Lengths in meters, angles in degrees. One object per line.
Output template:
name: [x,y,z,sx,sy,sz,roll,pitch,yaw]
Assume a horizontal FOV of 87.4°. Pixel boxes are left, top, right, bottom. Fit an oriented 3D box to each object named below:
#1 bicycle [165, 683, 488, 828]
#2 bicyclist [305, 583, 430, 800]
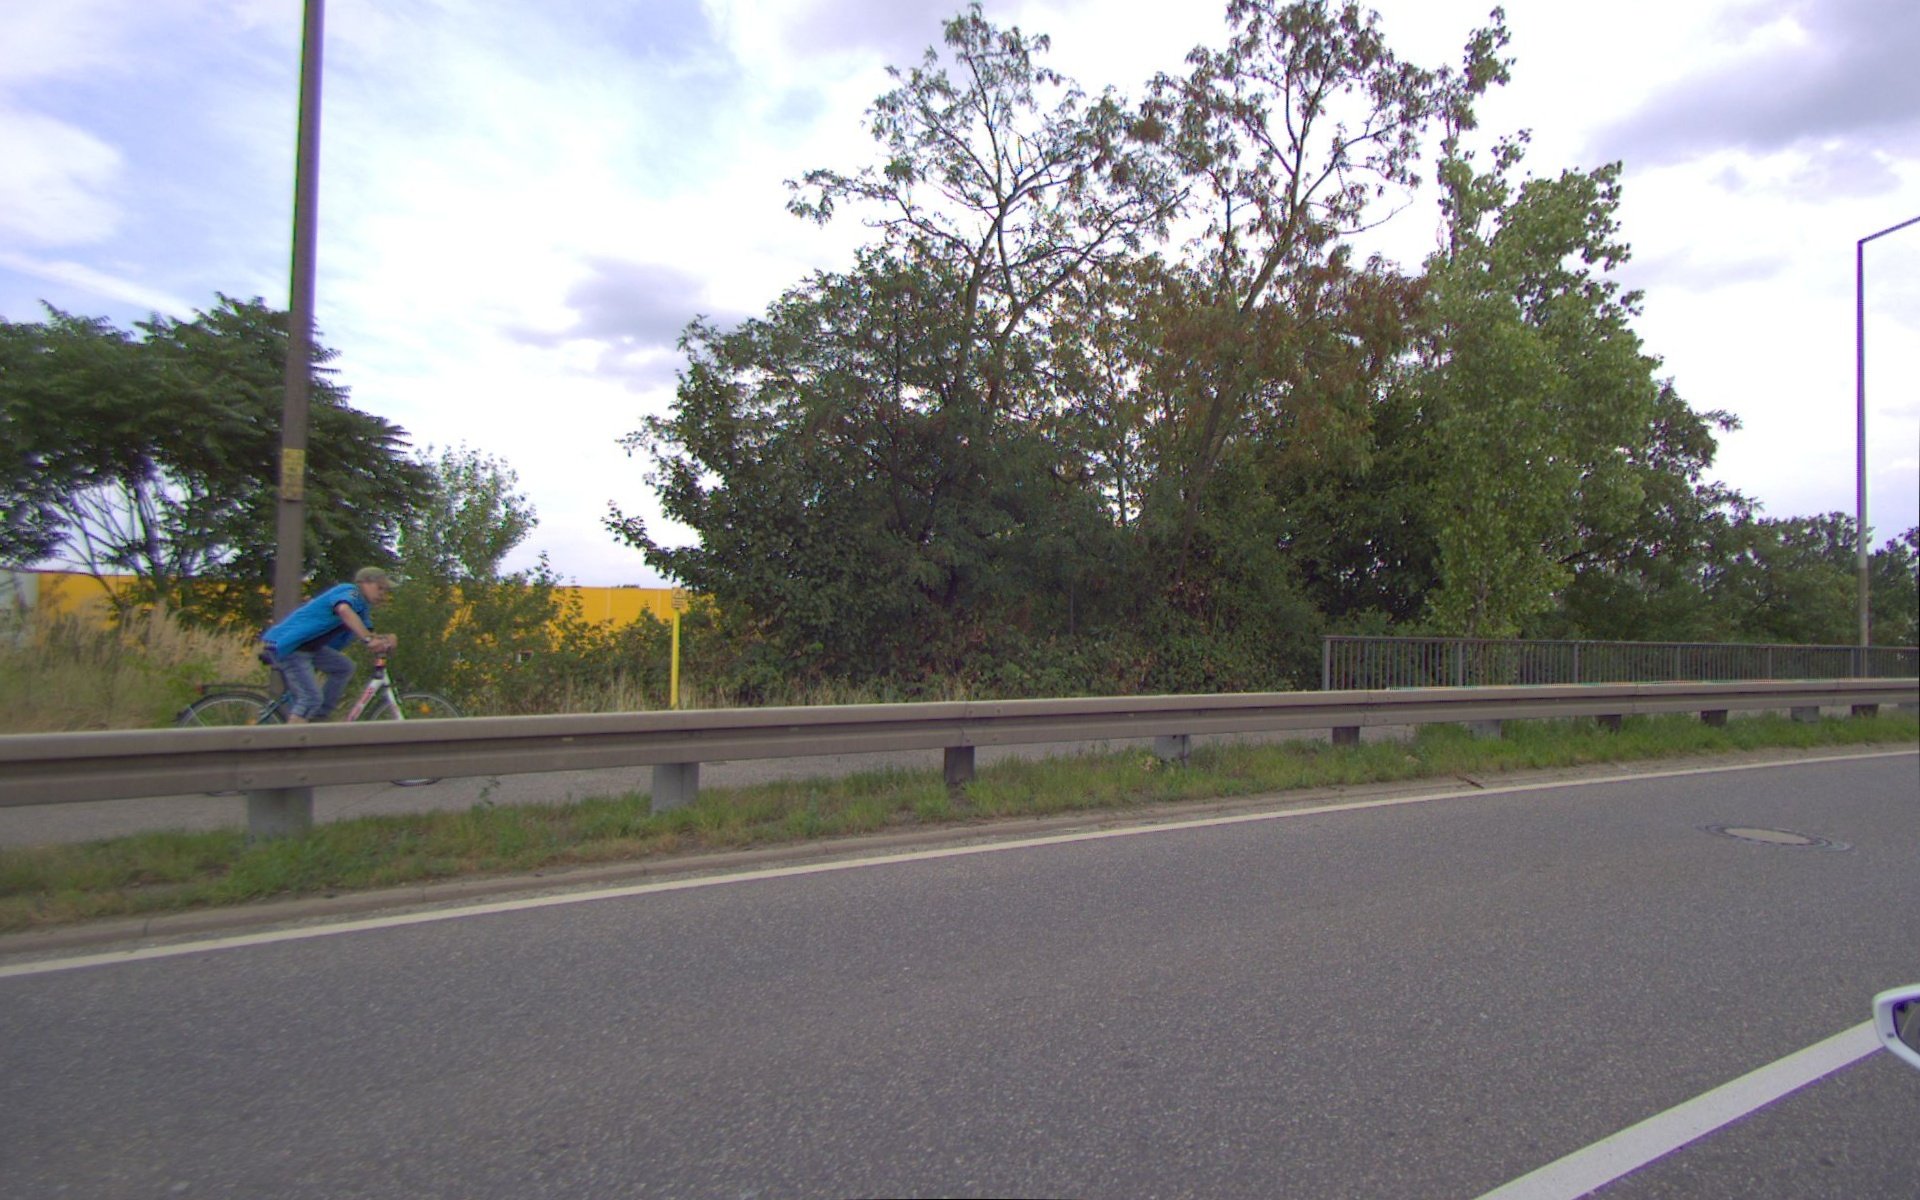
bicycle: [-4.431,1.055,7.176,1.870,0.808,0.688,1,0,-30]
bicyclist: [-4.262,0.616,7.259,0.739,1.464,0.707,0,1,-30]
